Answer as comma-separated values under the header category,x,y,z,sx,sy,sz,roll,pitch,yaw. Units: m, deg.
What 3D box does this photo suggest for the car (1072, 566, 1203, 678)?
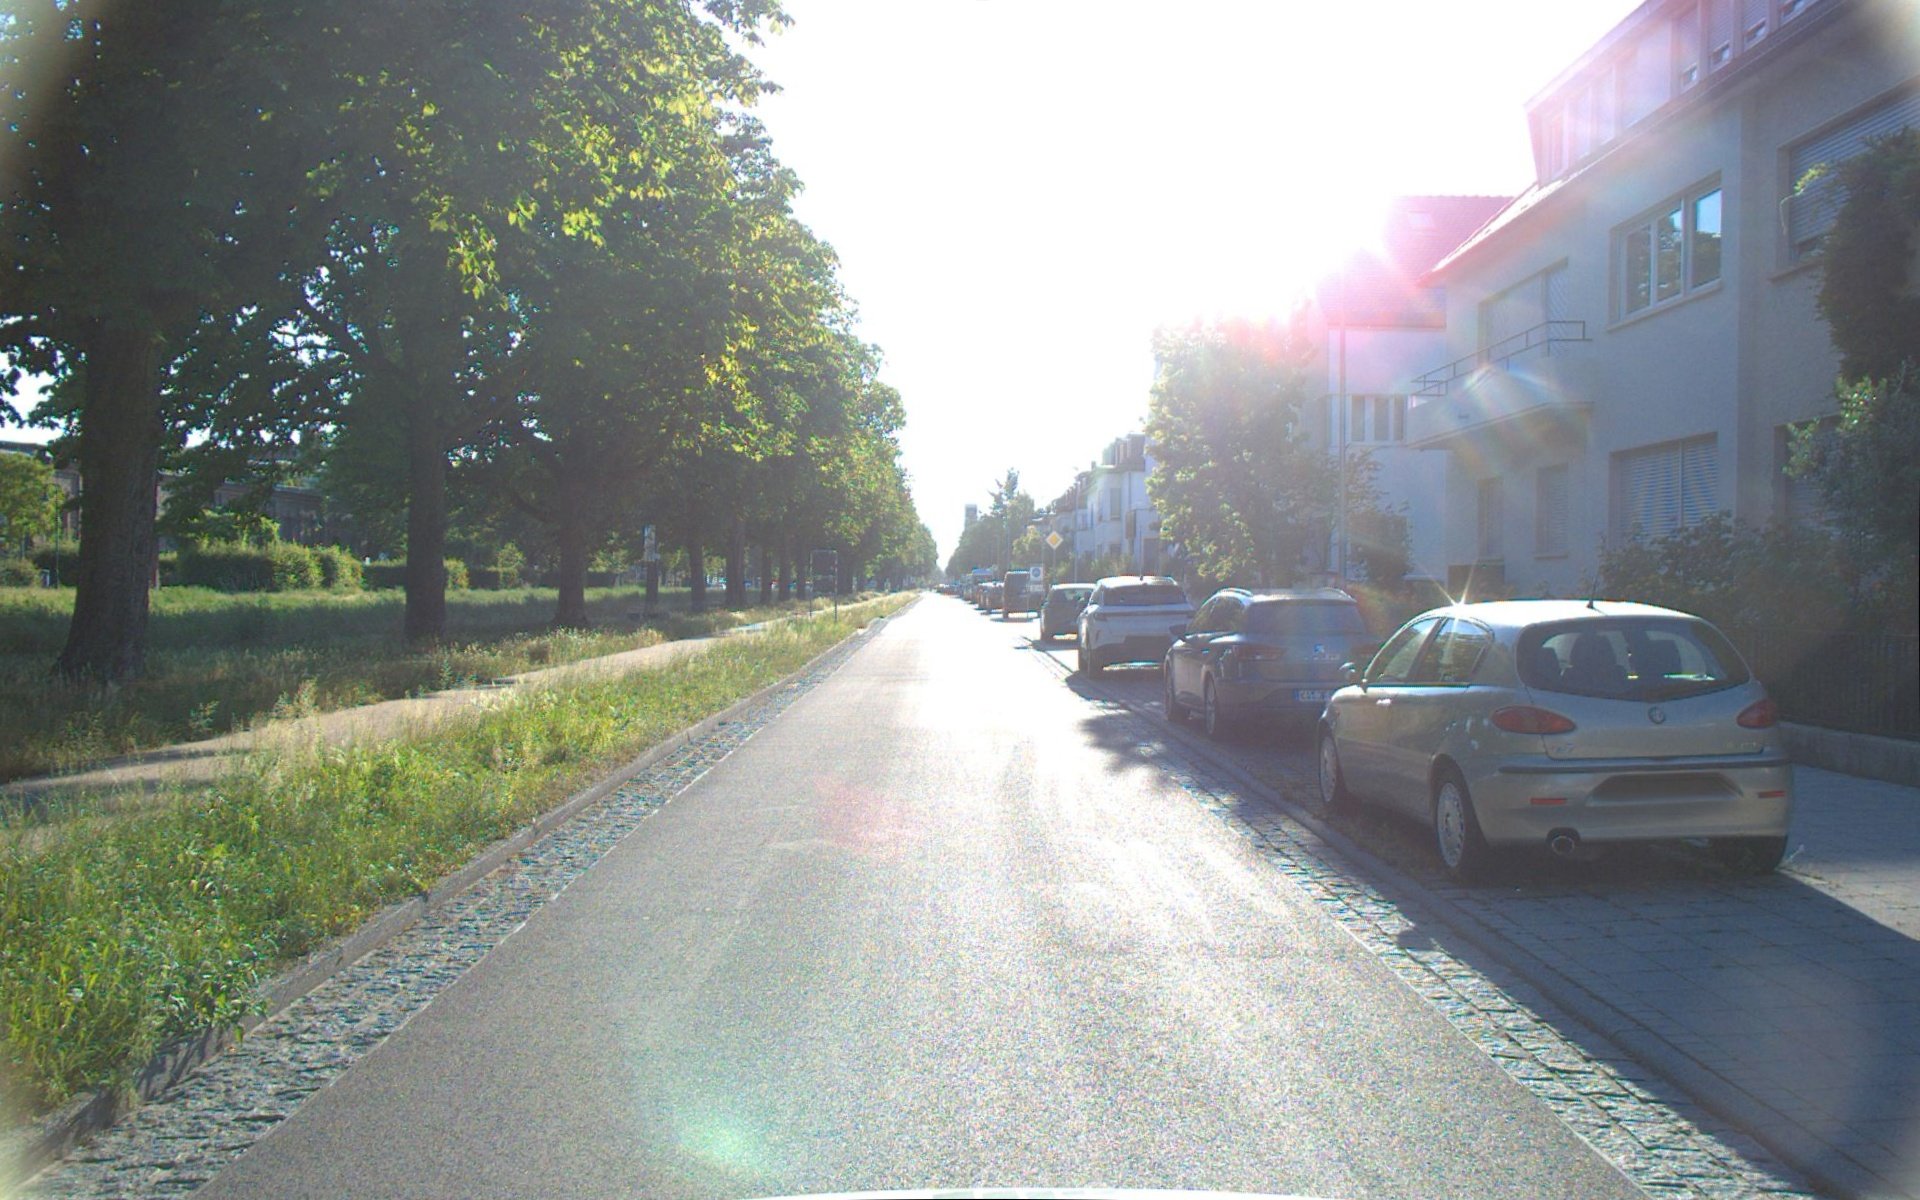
category,x,y,z,sx,sy,sz,roll,pitch,yaw
car,2.973,0.303,28.553,1.866,1.738,4.577,-1,1,2

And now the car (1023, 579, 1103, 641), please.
category,x,y,z,sx,sy,sz,roll,pitch,yaw
car,2.667,0.229,43.704,1.757,1.508,4.123,-2,1,-1

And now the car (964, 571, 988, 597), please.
category,x,y,z,sx,sy,sz,roll,pitch,yaw
car,1.619,-1.609,165.632,2.084,2.577,5.186,-1,1,-3

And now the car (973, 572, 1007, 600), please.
category,x,y,z,sx,sy,sz,roll,pitch,yaw
car,1.818,-0.858,102.342,1.684,1.601,4.207,-2,0,-4

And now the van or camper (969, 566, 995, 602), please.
category,x,y,z,sx,sy,sz,roll,pitch,yaw
van or camper,1.774,-1.280,135.515,1.904,2.826,5.939,2,0,0

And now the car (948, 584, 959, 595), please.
category,x,y,z,sx,sy,sz,roll,pitch,yaw
car,-1.014,-1.621,253.312,1.616,1.557,3.851,4,1,0

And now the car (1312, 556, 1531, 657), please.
category,x,y,z,sx,sy,sz,roll,pitch,yaw
car,9.451,0.116,34.036,3.906,1.877,1.813,2,2,-7

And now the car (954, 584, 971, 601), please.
category,x,y,z,sx,sy,sz,roll,pitch,yaw
car,0.220,-0.757,159.553,1.616,1.557,3.851,-1,1,1

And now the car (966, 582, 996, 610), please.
category,x,y,z,sx,sy,sz,roll,pitch,yaw
car,1.372,-0.269,107.709,1.795,1.714,4.415,2,1,-1

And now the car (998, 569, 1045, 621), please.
category,x,y,z,sx,sy,sz,roll,pitch,yaw
car,2.703,-0.250,73.484,1.867,2.169,4.814,-2,1,0

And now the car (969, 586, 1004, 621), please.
category,x,y,z,sx,sy,sz,roll,pitch,yaw
car,1.428,0.144,89.994,1.757,1.802,4.472,-2,1,-1

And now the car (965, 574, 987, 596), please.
category,x,y,z,sx,sy,sz,roll,pitch,yaw
car,1.237,-1.149,128.709,1.630,1.620,4.085,2,0,0

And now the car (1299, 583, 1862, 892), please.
category,x,y,z,sx,sy,sz,roll,pitch,yaw
car,3.359,0.627,9.865,1.757,1.404,4.078,-2,1,-1

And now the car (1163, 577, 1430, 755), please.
category,x,y,z,sx,sy,sz,roll,pitch,yaw
car,3.233,0.558,16.713,1.757,1.520,4.193,-2,1,-1
